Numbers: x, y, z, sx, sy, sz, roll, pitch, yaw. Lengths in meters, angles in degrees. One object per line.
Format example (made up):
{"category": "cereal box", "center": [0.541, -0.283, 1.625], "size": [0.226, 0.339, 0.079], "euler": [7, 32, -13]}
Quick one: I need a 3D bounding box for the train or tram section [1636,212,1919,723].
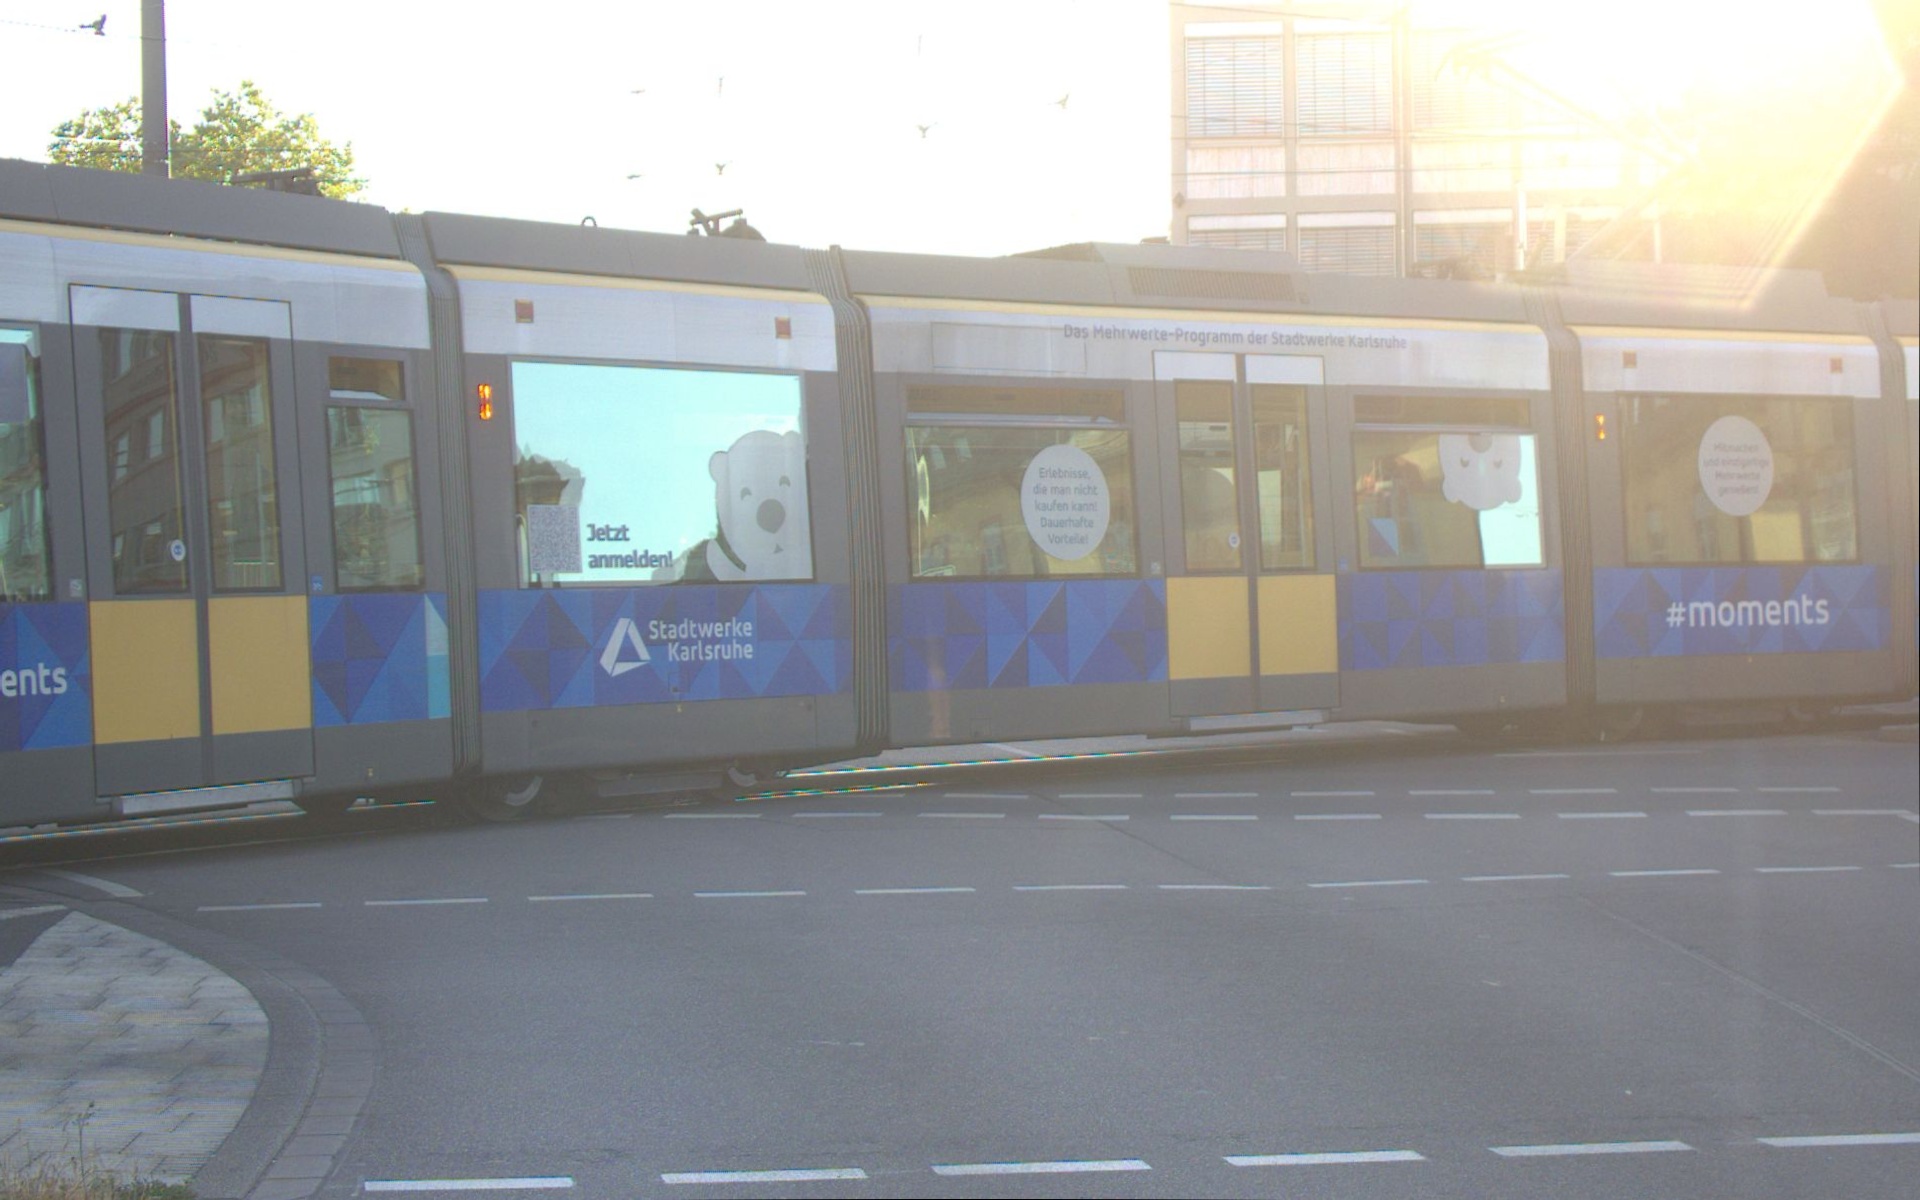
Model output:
{"category": "train or tram section", "center": [12.494, -0.951, 29.467], "size": [12.933, 3.820, 3.717], "euler": [1, 0, -18]}

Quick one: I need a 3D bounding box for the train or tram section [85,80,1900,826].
{"category": "train or tram section", "center": [0.942, -0.873, 23.205], "size": [12.942, 3.820, 3.714], "euler": [-1, 2, -40]}

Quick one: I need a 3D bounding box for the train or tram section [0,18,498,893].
{"category": "train or tram section", "center": [-7.319, -0.577, 13.194], "size": [3.709, 3.820, 13.339], "euler": [0, 1, 29]}
